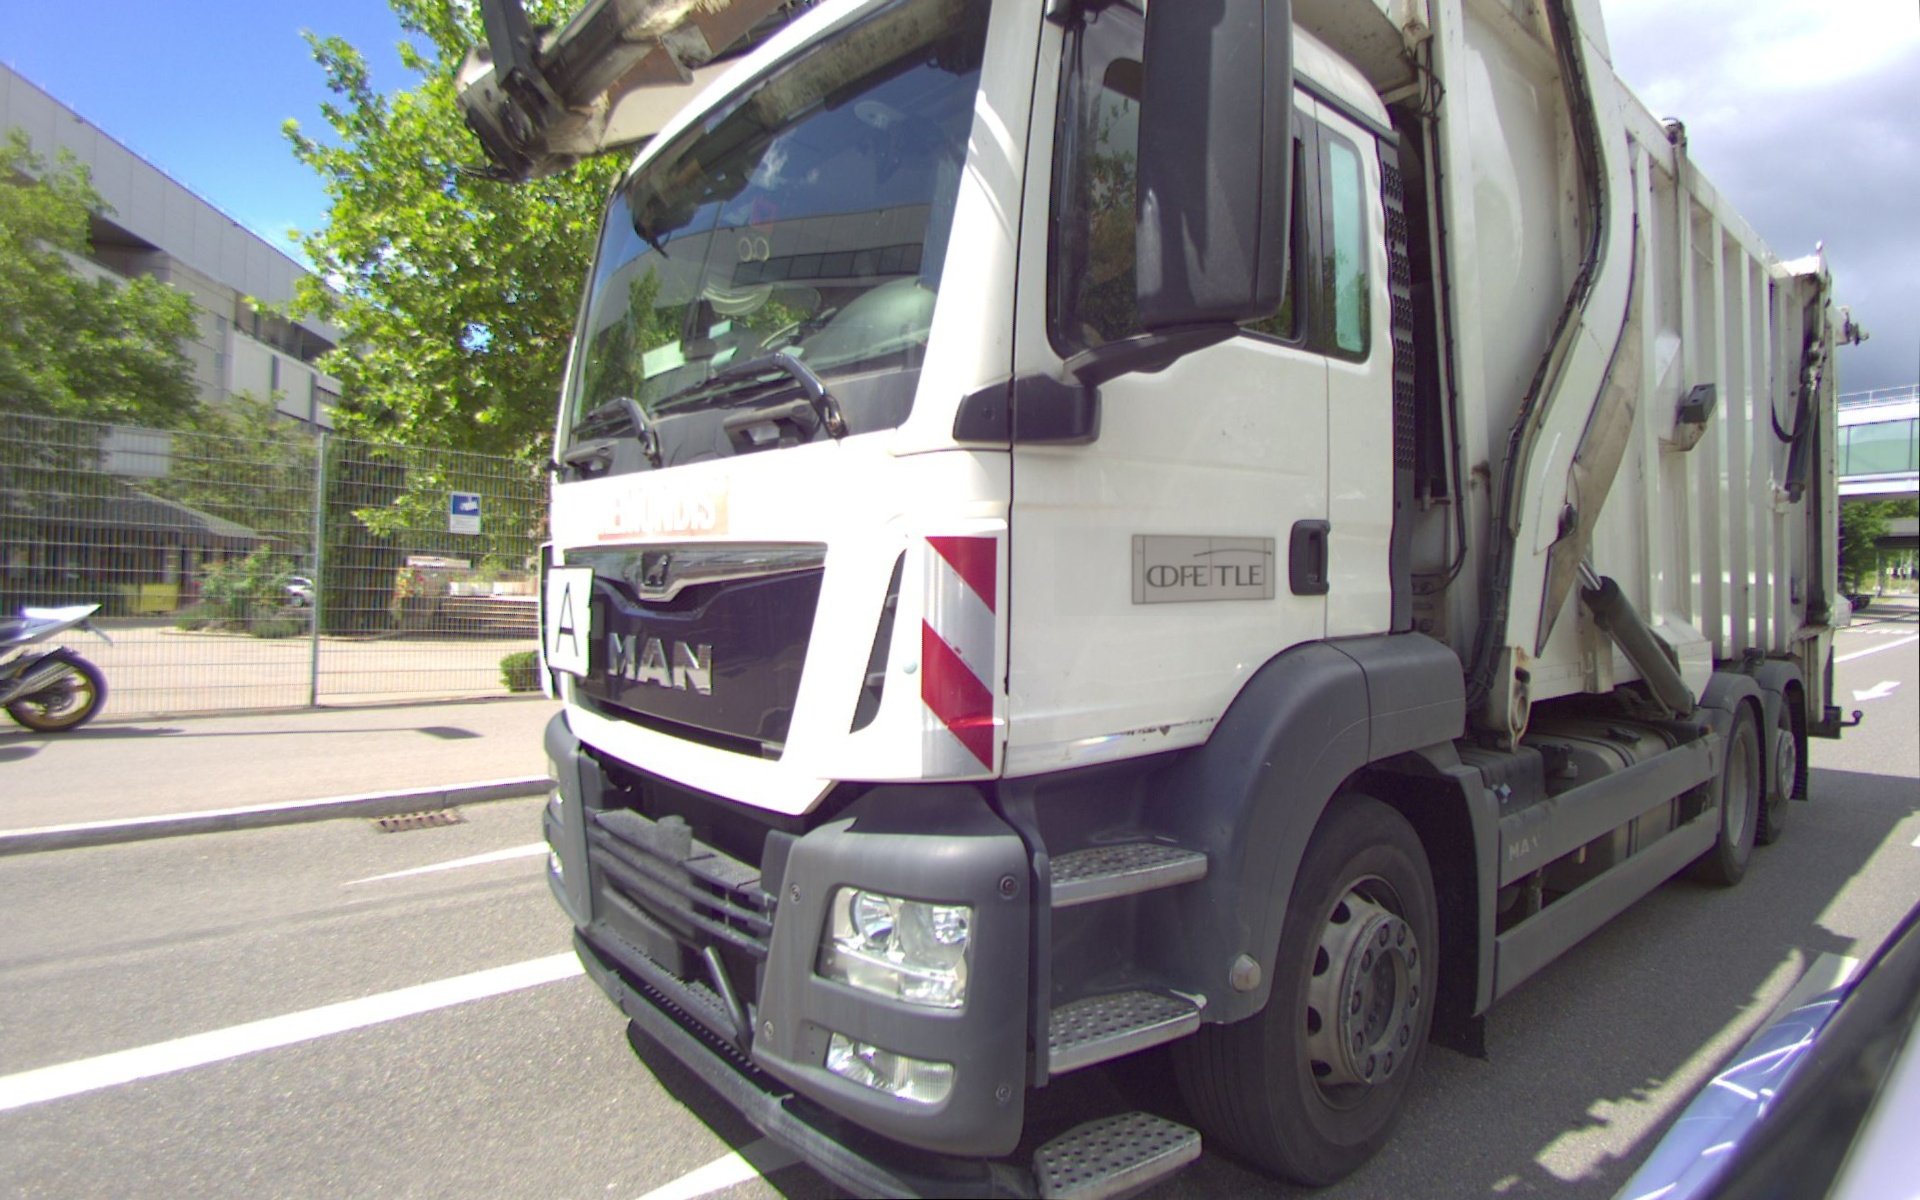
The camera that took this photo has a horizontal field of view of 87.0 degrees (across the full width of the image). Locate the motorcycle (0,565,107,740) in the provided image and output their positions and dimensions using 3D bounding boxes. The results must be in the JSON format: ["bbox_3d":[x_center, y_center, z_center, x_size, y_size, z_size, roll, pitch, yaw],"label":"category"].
[{"bbox_3d":[-7.437,0.375,7.290,1.978,1.238,0.688,-1,3,-41],"label":"motorcycle"}]

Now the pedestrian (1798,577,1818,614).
[{"bbox_3d":[44.846,-0.250,53.522,0.647,1.936,0.738,0,0,-42],"label":"pedestrian"}]

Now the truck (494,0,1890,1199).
[{"bbox_3d":[2.982,-0.615,5.786,9.999,3.962,2.492,-1,0,-42],"label":"truck"}]
